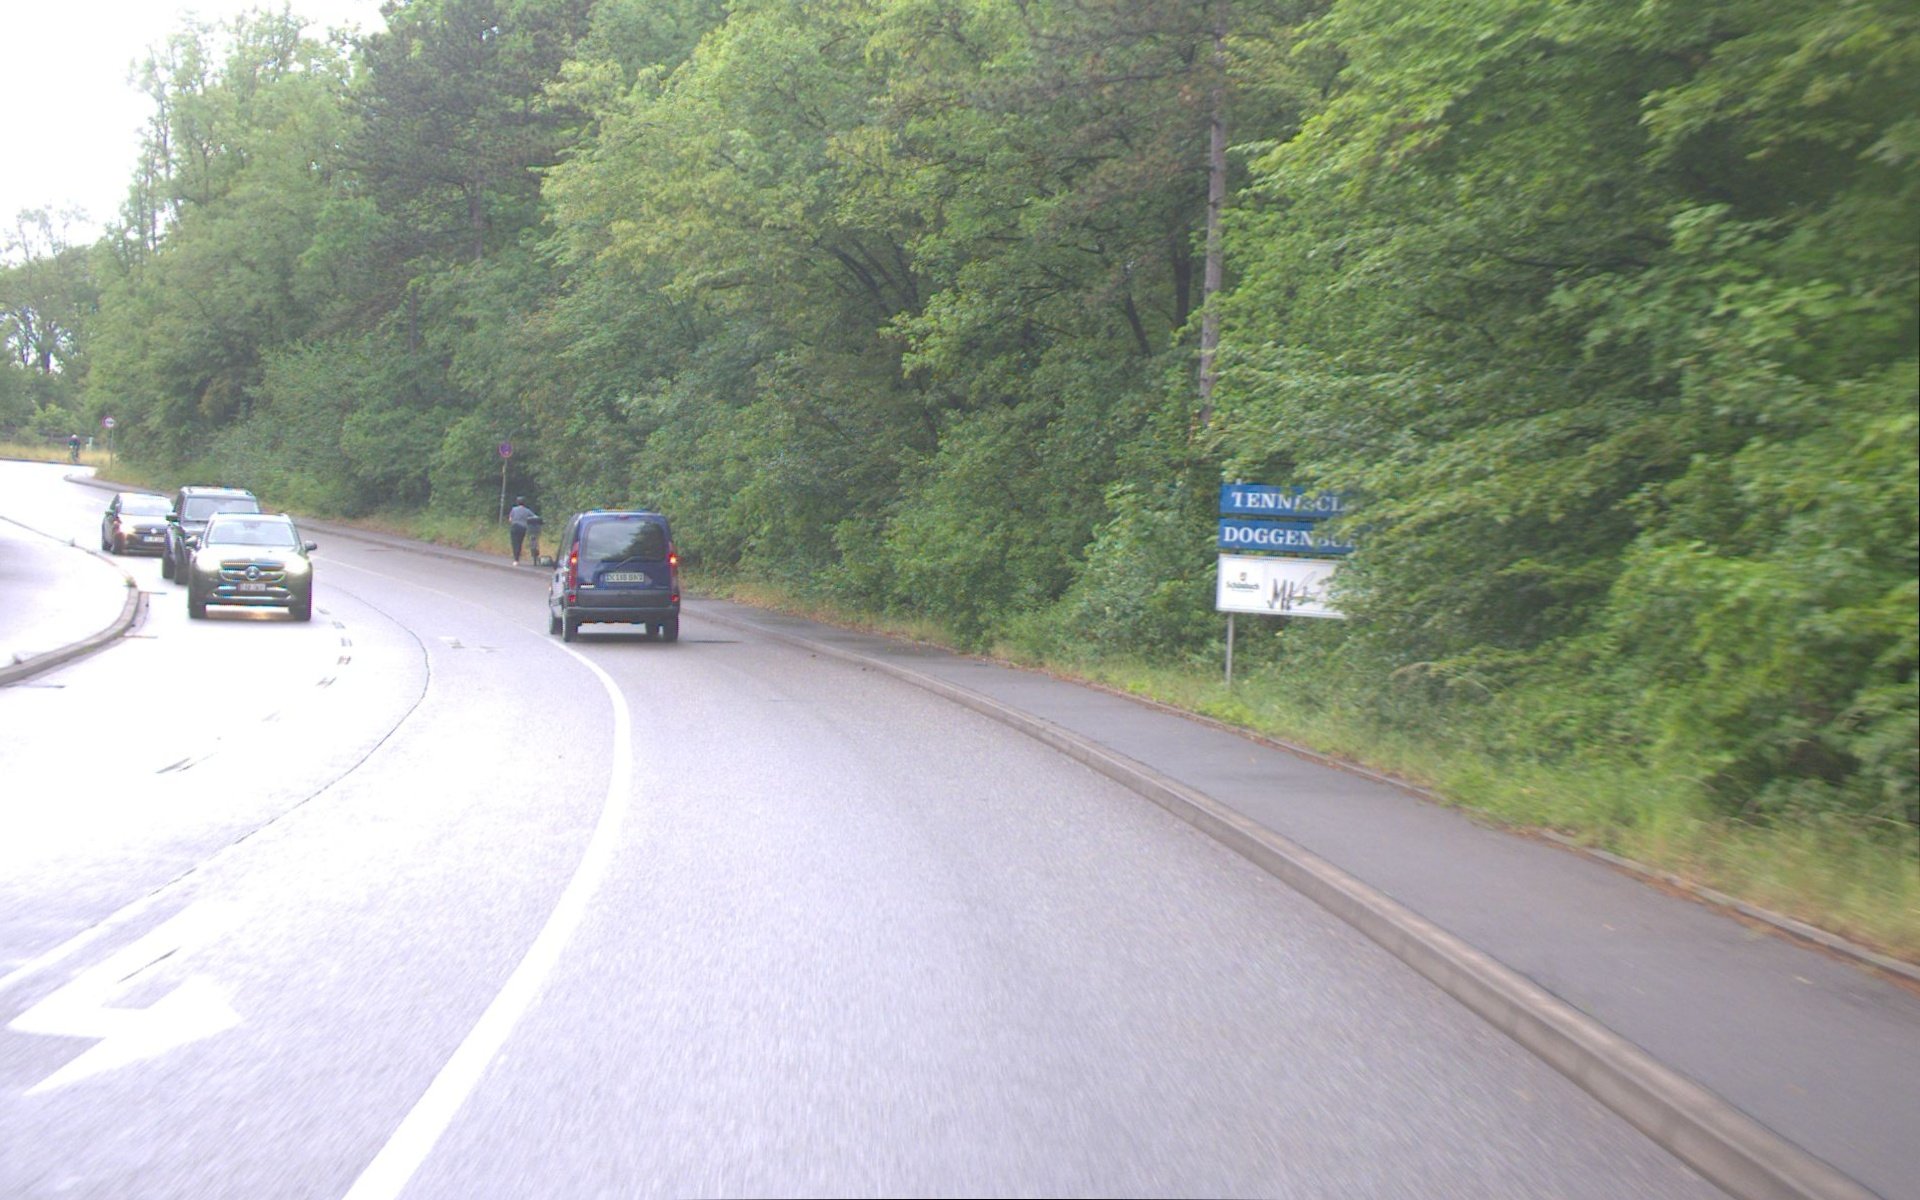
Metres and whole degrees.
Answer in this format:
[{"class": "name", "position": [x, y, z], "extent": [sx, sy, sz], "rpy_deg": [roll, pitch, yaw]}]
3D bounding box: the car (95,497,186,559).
[{"class": "car", "position": [-20.233, -1.786, 84.825], "extent": [1.826, 1.435, 4.001], "rpy_deg": [2, 1, -18]}]

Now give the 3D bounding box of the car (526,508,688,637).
[{"class": "car", "position": [-5.121, -0.426, 49.521], "extent": [1.826, 1.787, 4.001], "rpy_deg": [0, 1, -13]}]

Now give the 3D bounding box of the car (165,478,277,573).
[{"class": "car", "position": [-15.050, -1.520, 69.840], "extent": [1.826, 1.836, 4.713], "rpy_deg": [-1, 2, -17]}]

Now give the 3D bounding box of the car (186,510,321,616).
[{"class": "car", "position": [-11.345, -0.630, 55.446], "extent": [1.808, 1.589, 4.519], "rpy_deg": [2, 1, -8]}]
